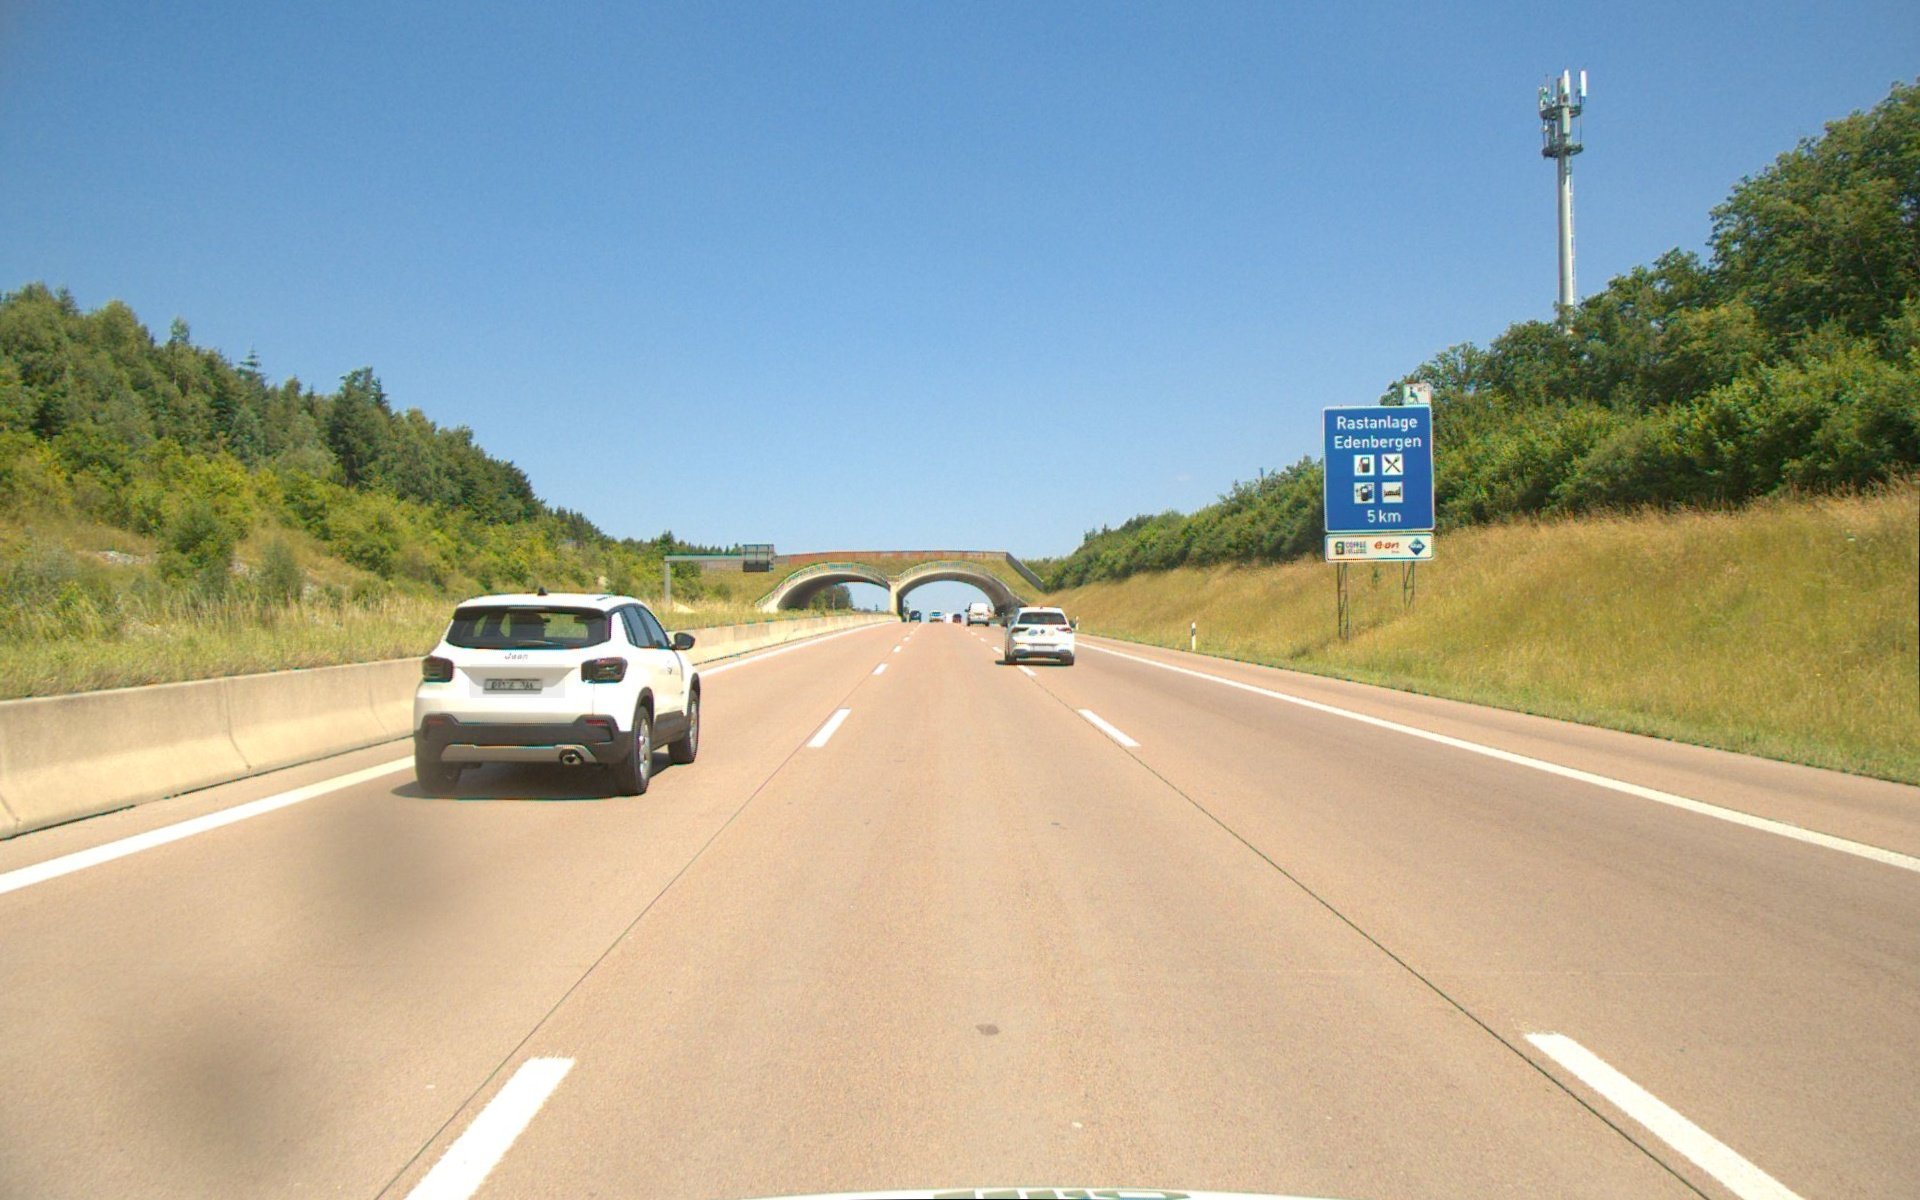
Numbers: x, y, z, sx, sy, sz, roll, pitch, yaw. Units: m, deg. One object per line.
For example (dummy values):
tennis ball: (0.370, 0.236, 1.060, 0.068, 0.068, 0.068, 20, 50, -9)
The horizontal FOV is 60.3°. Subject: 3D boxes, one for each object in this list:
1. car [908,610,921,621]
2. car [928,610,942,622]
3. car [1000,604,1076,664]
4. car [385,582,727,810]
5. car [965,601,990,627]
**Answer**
car: (-7.039, 2.399, 258.119, 1.852, 1.489, 4.001, 0, 1, 1)
car: (-3.386, 2.185, 224.806, 1.852, 1.489, 4.000, 1, 0, -1)
car: (1.998, 0.859, 43.239, 1.852, 1.422, 4.001, 1, 0, 1)
car: (-3.254, 0.687, 14.355, 1.841, 1.635, 4.833, 0, 0, -1)
car: (1.484, 1.183, 139.152, 2.067, 2.089, 4.001, 0, 1, 1)
